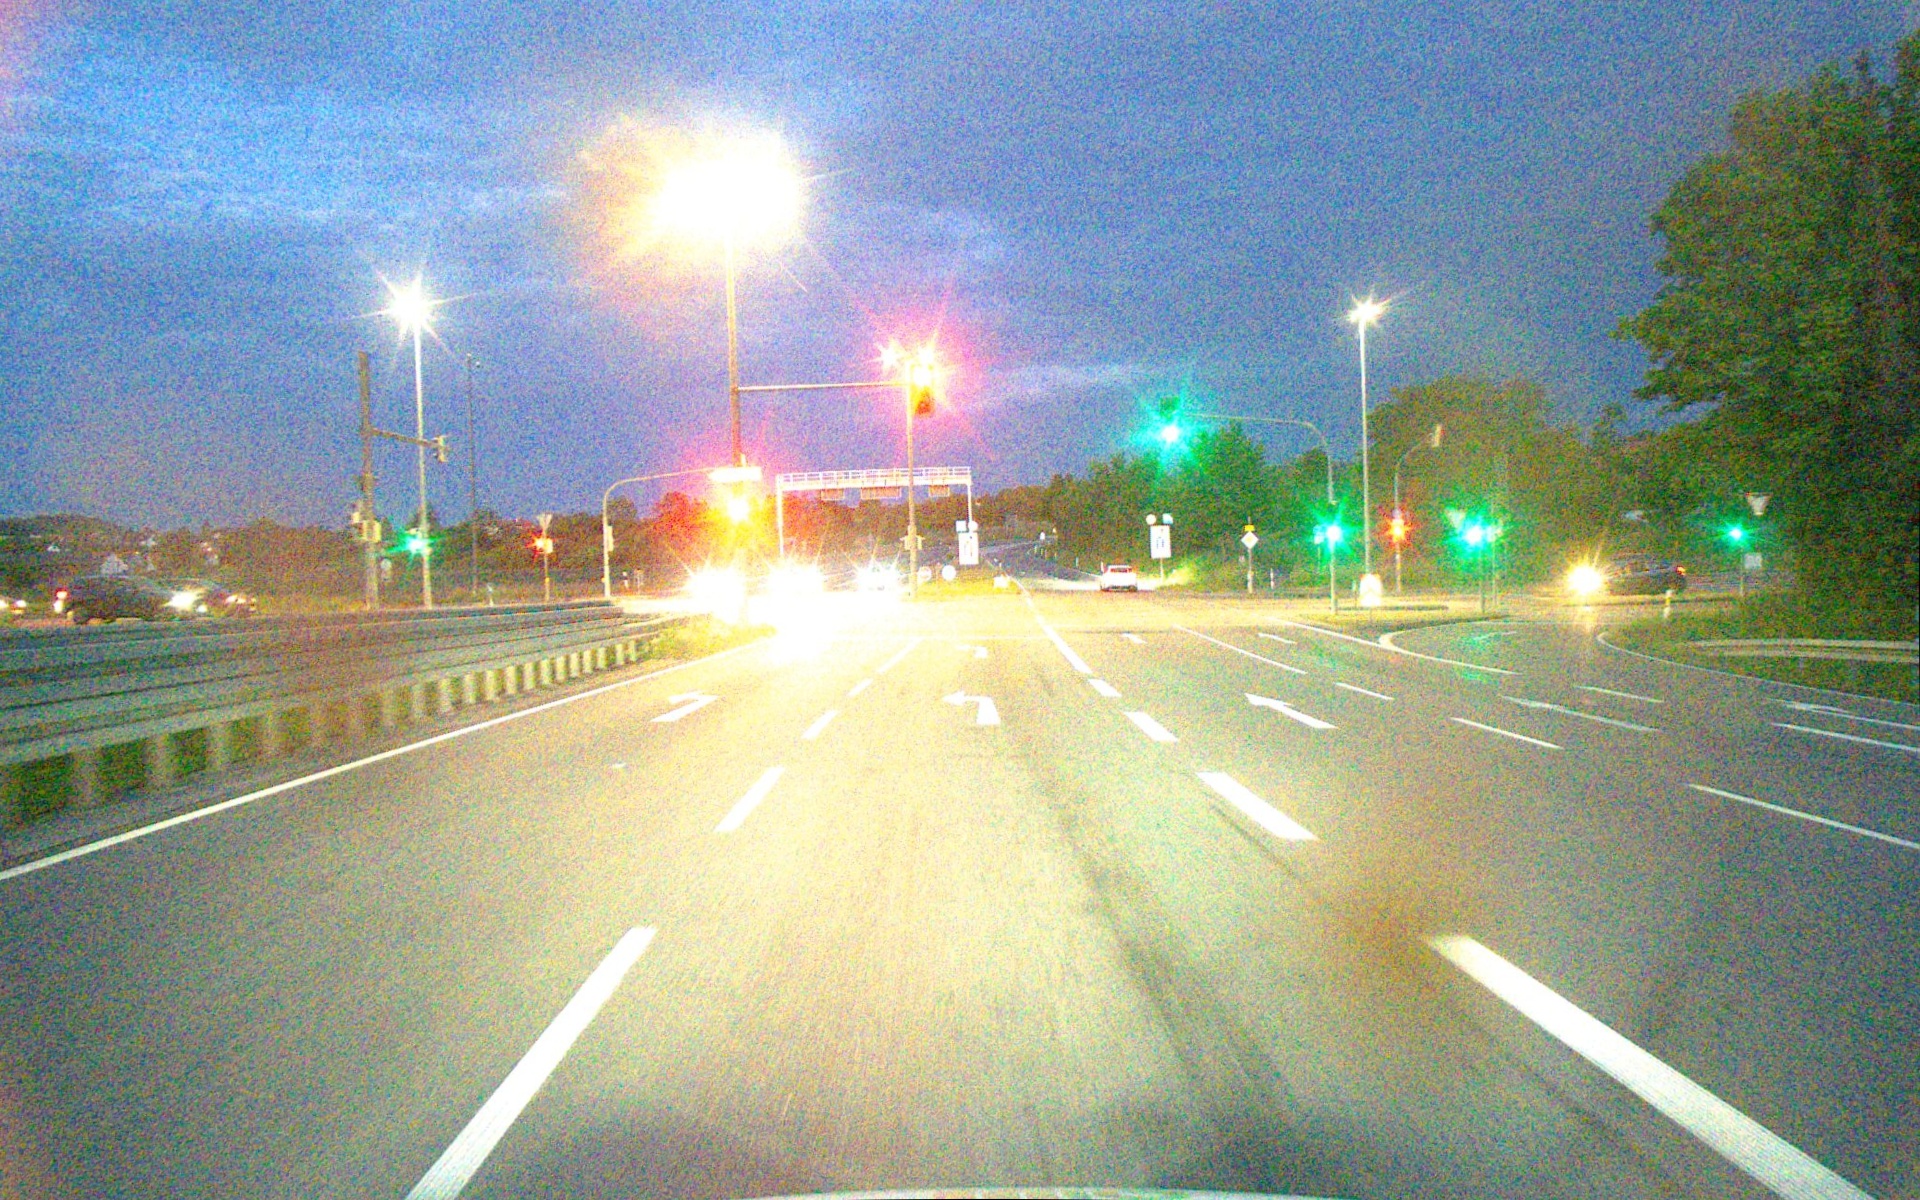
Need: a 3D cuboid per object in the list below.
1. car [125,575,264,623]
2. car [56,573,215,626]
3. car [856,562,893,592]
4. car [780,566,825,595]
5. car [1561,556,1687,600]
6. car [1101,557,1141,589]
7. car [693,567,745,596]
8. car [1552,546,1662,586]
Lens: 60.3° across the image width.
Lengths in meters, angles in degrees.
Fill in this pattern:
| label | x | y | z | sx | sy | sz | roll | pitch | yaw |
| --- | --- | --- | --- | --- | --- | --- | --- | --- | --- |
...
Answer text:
| label | x | y | z | sx | sy | sz | roll | pitch | yaw |
| --- | --- | --- | --- | --- | --- | --- | --- | --- | --- |
| car | -26.385 | -0.046 | 57.099 | 3.959 | 1.564 | 1.729 | -1 | 1 | -2 |
| car | -26.622 | -0.038 | 53.479 | 4.225 | 1.564 | 1.729 | -1 | 1 | 0 |
| car | -5.083 | -1.405 | 98.882 | 1.952 | 1.727 | 4.001 | -1 | 2 | 0 |
| car | -8.492 | -1.060 | 89.730 | 1.952 | 1.507 | 4.683 | -1 | 1 | 0 |
| car | 25.329 | -0.868 | 63.187 | 3.991 | 1.596 | 2.002 | -1 | 1 | -2 |
| car | 8.645 | -1.436 | 89.070 | 1.965 | 1.639 | 3.847 | -1 | 1 | 4 |
| car | -12.337 | -0.973 | 85.041 | 1.952 | 1.450 | 4.533 | -1 | 1 | 0 |
| car | 27.545 | -1.448 | 70.485 | 3.906 | 1.596 | 1.900 | -1 | 2 | -2 |
